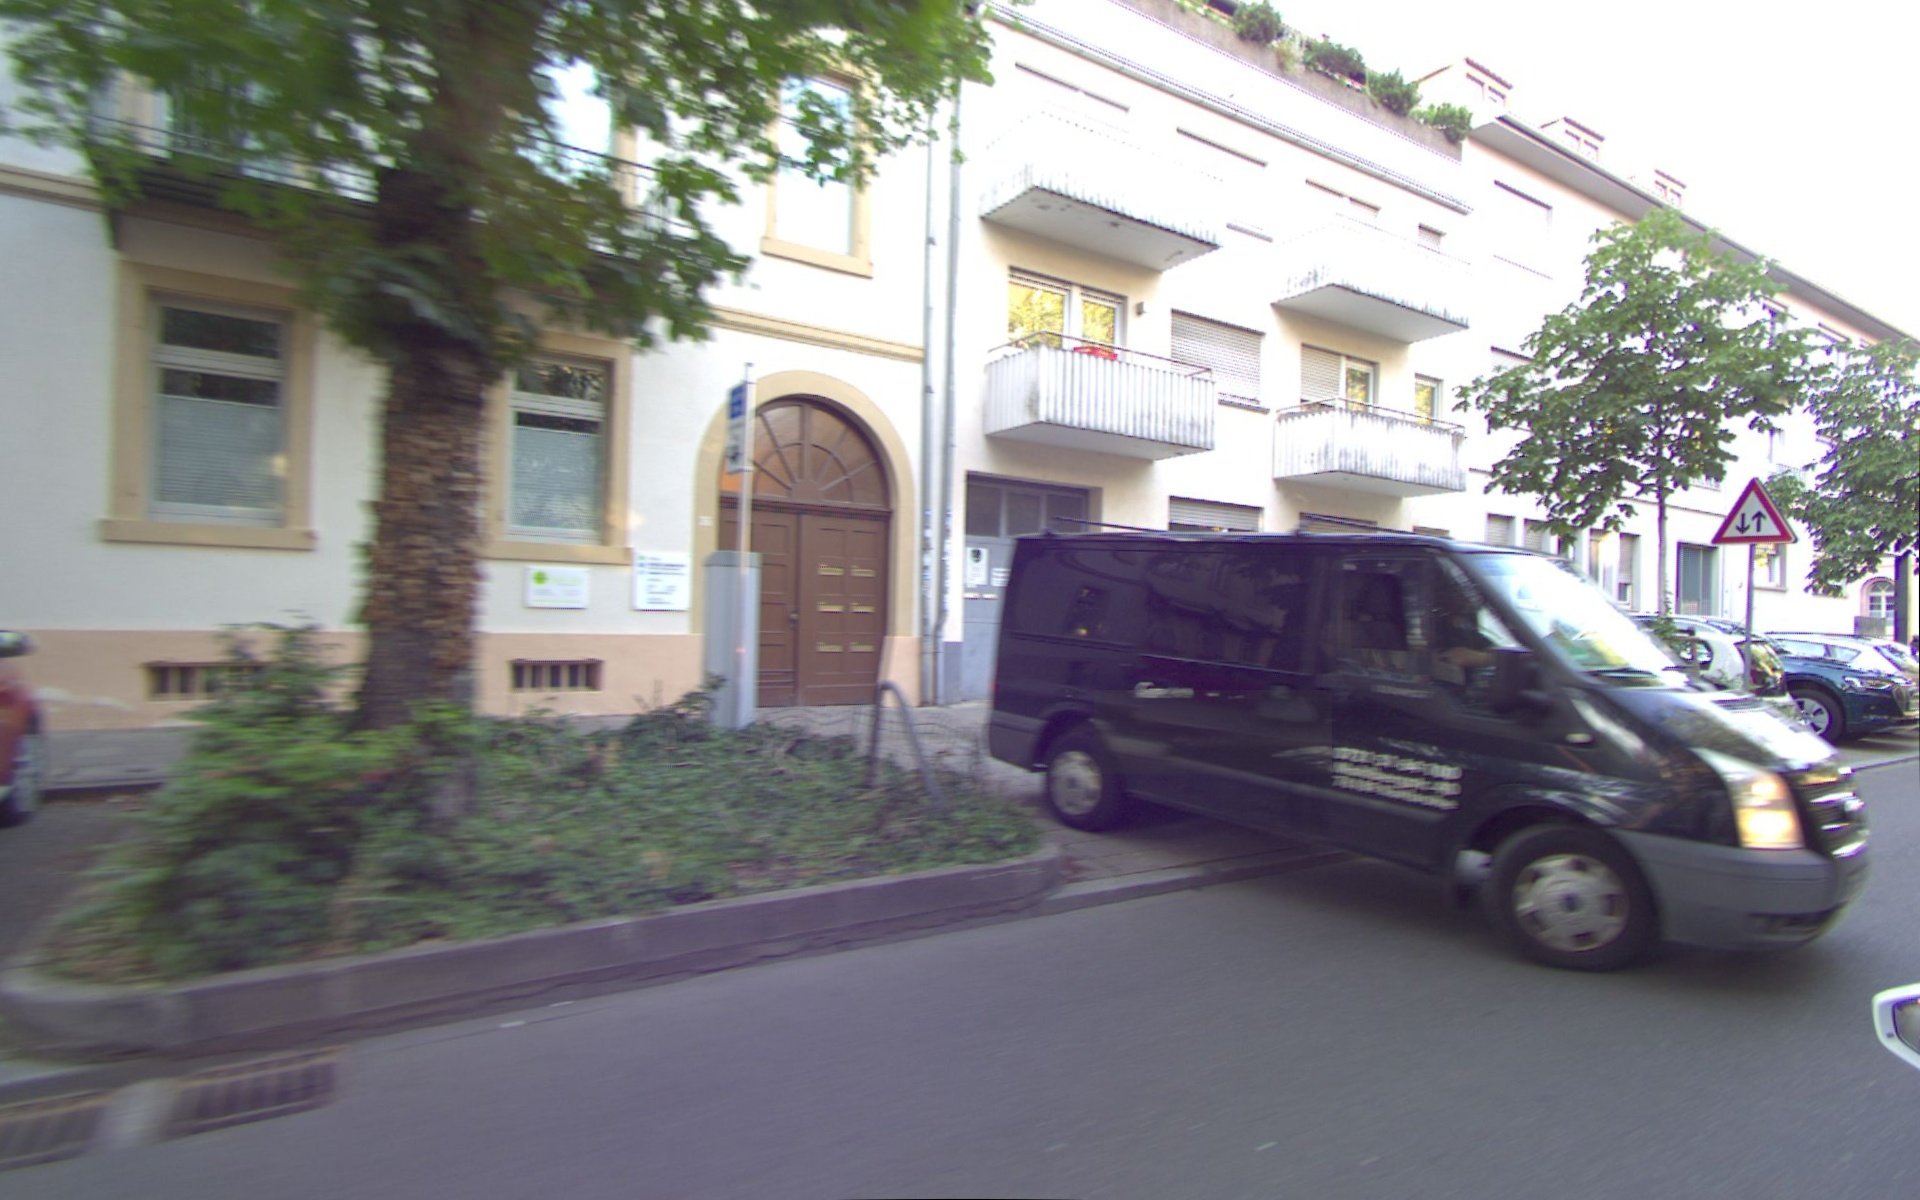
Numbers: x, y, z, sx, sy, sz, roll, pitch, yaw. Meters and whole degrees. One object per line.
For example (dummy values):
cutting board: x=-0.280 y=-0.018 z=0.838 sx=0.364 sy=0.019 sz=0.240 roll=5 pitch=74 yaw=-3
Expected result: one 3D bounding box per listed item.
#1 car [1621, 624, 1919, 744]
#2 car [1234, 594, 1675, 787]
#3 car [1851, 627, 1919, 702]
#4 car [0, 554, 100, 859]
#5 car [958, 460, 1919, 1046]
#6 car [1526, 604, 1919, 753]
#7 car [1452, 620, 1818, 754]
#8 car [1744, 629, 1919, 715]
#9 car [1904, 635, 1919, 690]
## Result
car: x=13.505 y=1.276 z=16.530 sx=1.758 sy=1.514 sz=4.011 roll=2 pitch=1 yaw=-28
car: x=5.358 y=0.850 z=11.459 sx=1.803 sy=1.612 sz=4.131 roll=2 pitch=2 yaw=-32
car: x=22.853 y=1.517 z=22.410 sx=1.914 sy=1.653 sz=4.072 roll=2 pitch=0 yaw=-31
car: x=-5.713 y=0.533 z=4.774 sx=1.752 sy=1.559 sz=4.330 roll=3 pitch=1 yaw=-32
car: x=2.424 y=0.547 z=6.059 sx=2.173 sy=2.017 sz=4.946 roll=2 pitch=-1 yaw=-41
car: x=11.517 y=1.030 z=15.224 sx=2.133 sy=1.789 sz=4.639 roll=2 pitch=0 yaw=-32
car: x=9.206 y=1.073 z=14.002 sx=1.834 sy=1.470 sz=3.824 roll=1 pitch=1 yaw=-32
car: x=18.185 y=1.410 z=19.713 sx=1.735 sy=1.459 sz=4.054 roll=2 pitch=1 yaw=-31
car: x=27.683 y=1.776 z=26.504 sx=1.716 sy=1.478 sz=3.719 roll=2 pitch=1 yaw=-33
